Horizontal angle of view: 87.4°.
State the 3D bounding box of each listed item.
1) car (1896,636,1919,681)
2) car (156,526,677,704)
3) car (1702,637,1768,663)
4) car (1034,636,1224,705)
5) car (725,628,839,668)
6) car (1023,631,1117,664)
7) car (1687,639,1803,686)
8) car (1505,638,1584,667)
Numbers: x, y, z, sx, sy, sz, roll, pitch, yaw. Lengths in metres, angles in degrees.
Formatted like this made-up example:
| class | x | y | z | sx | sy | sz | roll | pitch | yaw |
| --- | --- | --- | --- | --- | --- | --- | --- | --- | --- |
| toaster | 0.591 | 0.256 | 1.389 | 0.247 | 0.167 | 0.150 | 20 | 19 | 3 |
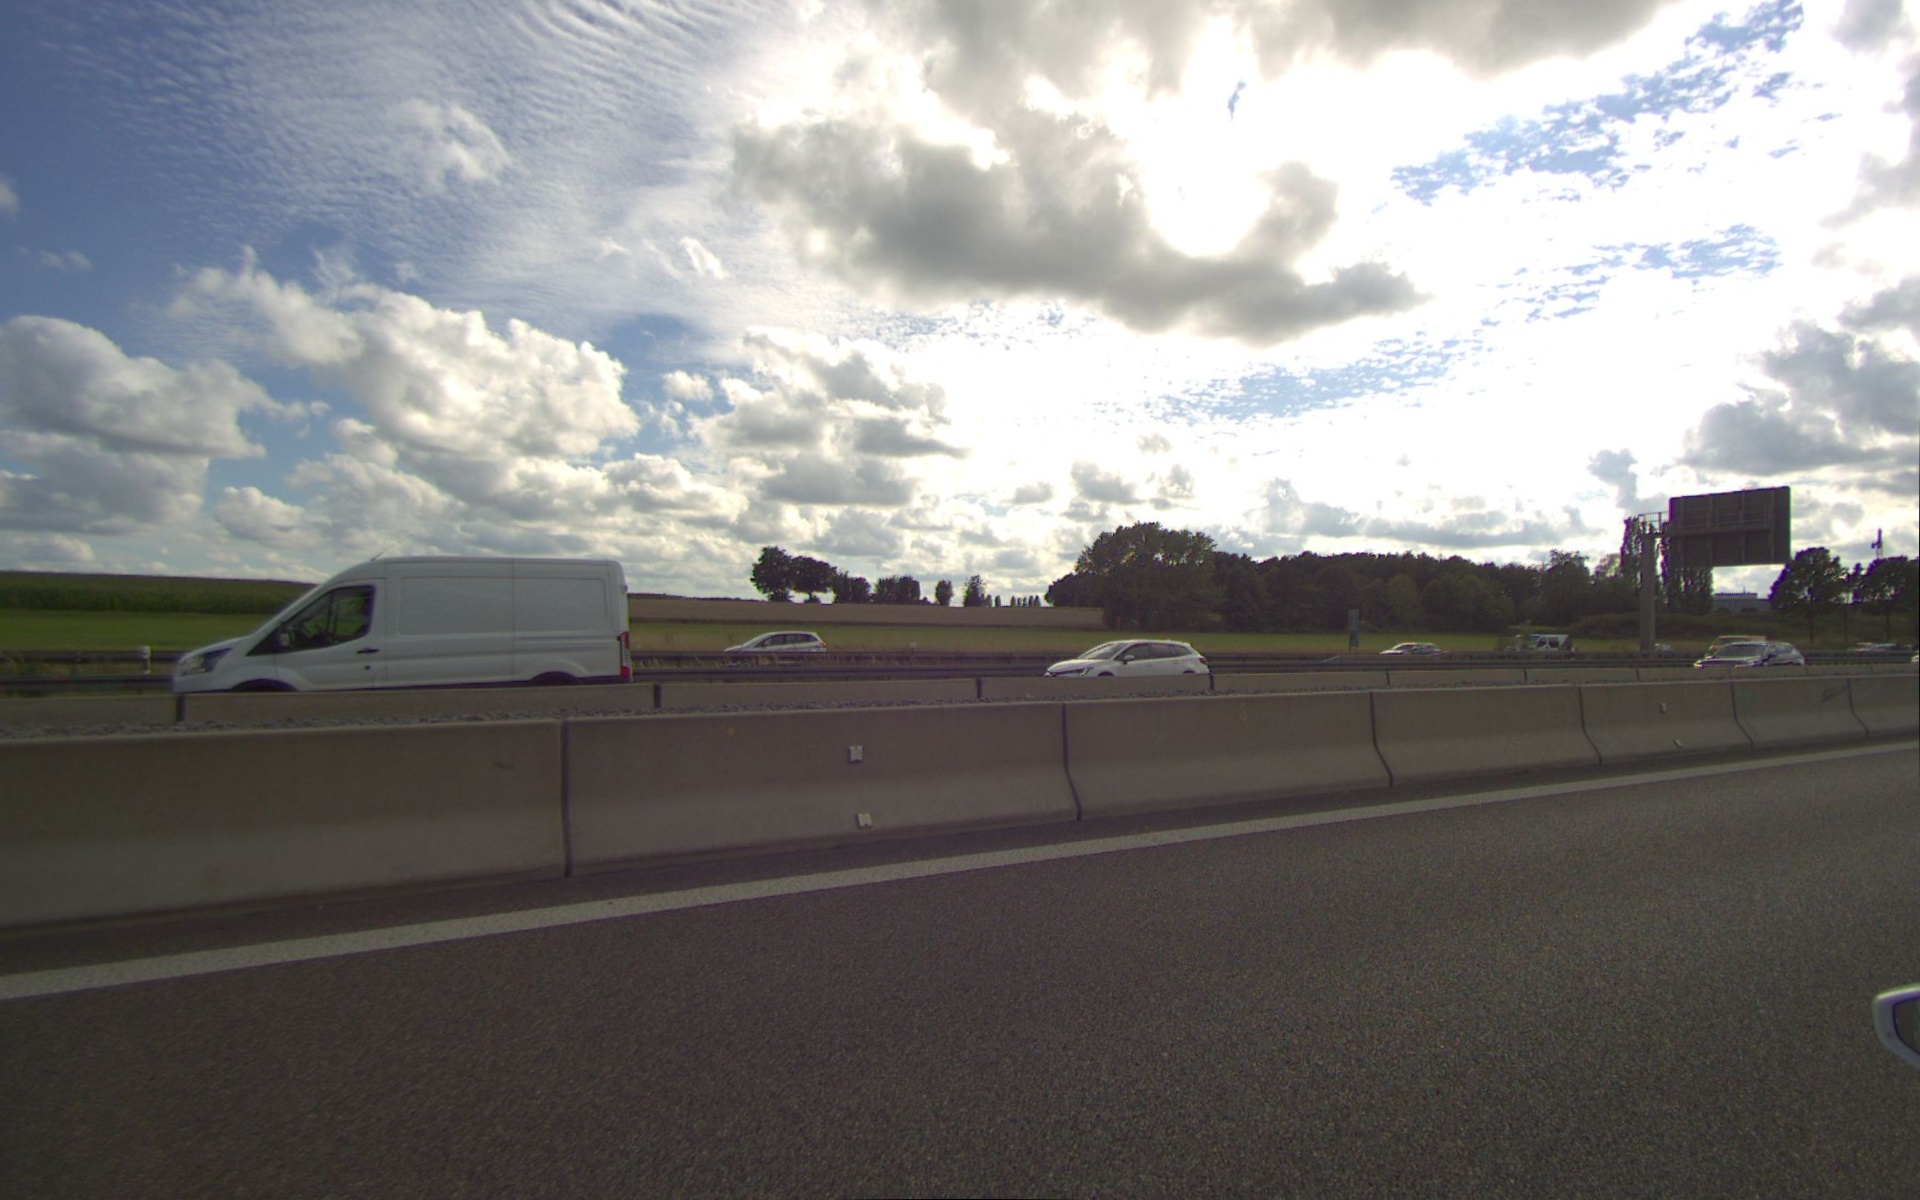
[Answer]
| class | x | y | z | sx | sy | sz | roll | pitch | yaw |
| --- | --- | --- | --- | --- | --- | --- | --- | --- | --- |
| car | 36.047 | 2.130 | 36.452 | 4.661 | 1.552 | 1.755 | 2 | -1 | -30 |
| car | -7.074 | 0.241 | 13.740 | 5.764 | 1.993 | 2.344 | 2 | -1 | -30 |
| car | 54.621 | 3.504 | 70.768 | 5.077 | 1.722 | 1.984 | 2 | -1 | -31 |
| car | 4.327 | 1.738 | 25.421 | 4.810 | 1.549 | 1.717 | 2 | -1 | -31 |
| car | -7.468 | 2.016 | 42.206 | 4.401 | 1.554 | 1.720 | 2 | -1 | -31 |
| car | 5.529 | 2.396 | 50.329 | 4.555 | 1.554 | 1.720 | 2 | -1 | -31 |
| car | 26.389 | 2.068 | 33.745 | 4.441 | 1.422 | 1.629 | 2 | -1 | -31 |
| car | 37.523 | 3.348 | 64.447 | 5.570 | 1.722 | 1.983 | 2 | -1 | -31 |
